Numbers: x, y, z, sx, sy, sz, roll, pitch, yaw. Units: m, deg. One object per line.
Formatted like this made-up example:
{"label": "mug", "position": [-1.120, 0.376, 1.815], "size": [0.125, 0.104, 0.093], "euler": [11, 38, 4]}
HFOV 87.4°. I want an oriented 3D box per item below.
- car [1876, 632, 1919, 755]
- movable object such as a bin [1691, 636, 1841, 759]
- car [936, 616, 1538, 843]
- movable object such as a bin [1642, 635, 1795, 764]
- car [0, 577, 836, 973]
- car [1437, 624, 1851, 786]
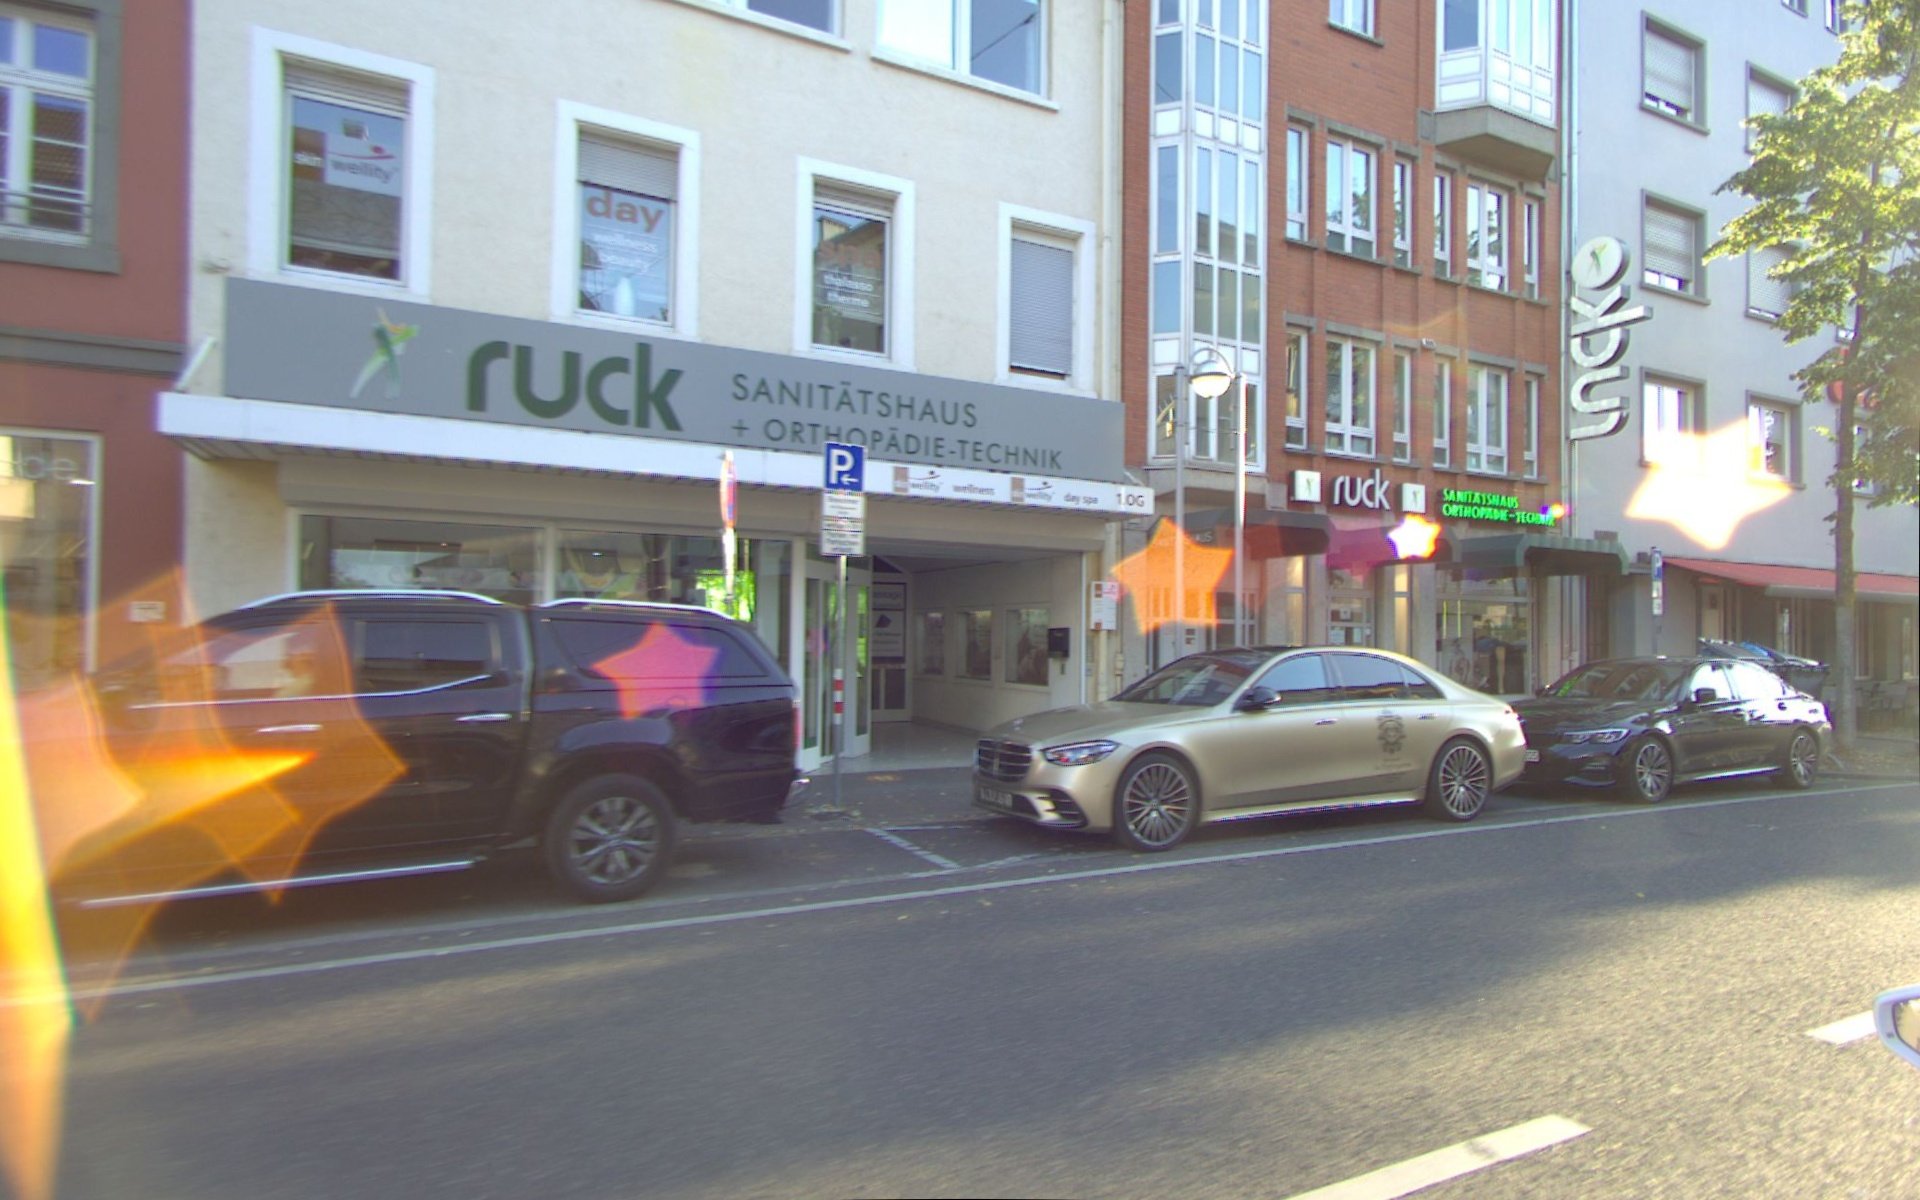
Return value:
{"label": "car", "position": [16.134, 1.418, 15.397], "size": [4.098, 1.810, 1.907], "euler": [2, -3, -30]}
{"label": "movable object such as a bin", "position": [12.293, 1.445, 15.339], "size": [1.423, 1.695, 1.276], "euler": [2, 1, -28]}
{"label": "car", "position": [2.485, 0.978, 8.804], "size": [5.045, 1.530, 1.988], "euler": [2, -3, -26]}
{"label": "movable object such as a bin", "position": [11.053, 1.402, 14.658], "size": [1.352, 1.695, 1.275], "euler": [2, 1, -28]}
{"label": "car", "position": [-3.563, 0.869, 6.109], "size": [5.233, 1.792, 1.986], "euler": [2, -3, -28]}
{"label": "car", "position": [7.790, 1.088, 11.393], "size": [4.579, 1.530, 1.908], "euler": [2, -3, -27]}
